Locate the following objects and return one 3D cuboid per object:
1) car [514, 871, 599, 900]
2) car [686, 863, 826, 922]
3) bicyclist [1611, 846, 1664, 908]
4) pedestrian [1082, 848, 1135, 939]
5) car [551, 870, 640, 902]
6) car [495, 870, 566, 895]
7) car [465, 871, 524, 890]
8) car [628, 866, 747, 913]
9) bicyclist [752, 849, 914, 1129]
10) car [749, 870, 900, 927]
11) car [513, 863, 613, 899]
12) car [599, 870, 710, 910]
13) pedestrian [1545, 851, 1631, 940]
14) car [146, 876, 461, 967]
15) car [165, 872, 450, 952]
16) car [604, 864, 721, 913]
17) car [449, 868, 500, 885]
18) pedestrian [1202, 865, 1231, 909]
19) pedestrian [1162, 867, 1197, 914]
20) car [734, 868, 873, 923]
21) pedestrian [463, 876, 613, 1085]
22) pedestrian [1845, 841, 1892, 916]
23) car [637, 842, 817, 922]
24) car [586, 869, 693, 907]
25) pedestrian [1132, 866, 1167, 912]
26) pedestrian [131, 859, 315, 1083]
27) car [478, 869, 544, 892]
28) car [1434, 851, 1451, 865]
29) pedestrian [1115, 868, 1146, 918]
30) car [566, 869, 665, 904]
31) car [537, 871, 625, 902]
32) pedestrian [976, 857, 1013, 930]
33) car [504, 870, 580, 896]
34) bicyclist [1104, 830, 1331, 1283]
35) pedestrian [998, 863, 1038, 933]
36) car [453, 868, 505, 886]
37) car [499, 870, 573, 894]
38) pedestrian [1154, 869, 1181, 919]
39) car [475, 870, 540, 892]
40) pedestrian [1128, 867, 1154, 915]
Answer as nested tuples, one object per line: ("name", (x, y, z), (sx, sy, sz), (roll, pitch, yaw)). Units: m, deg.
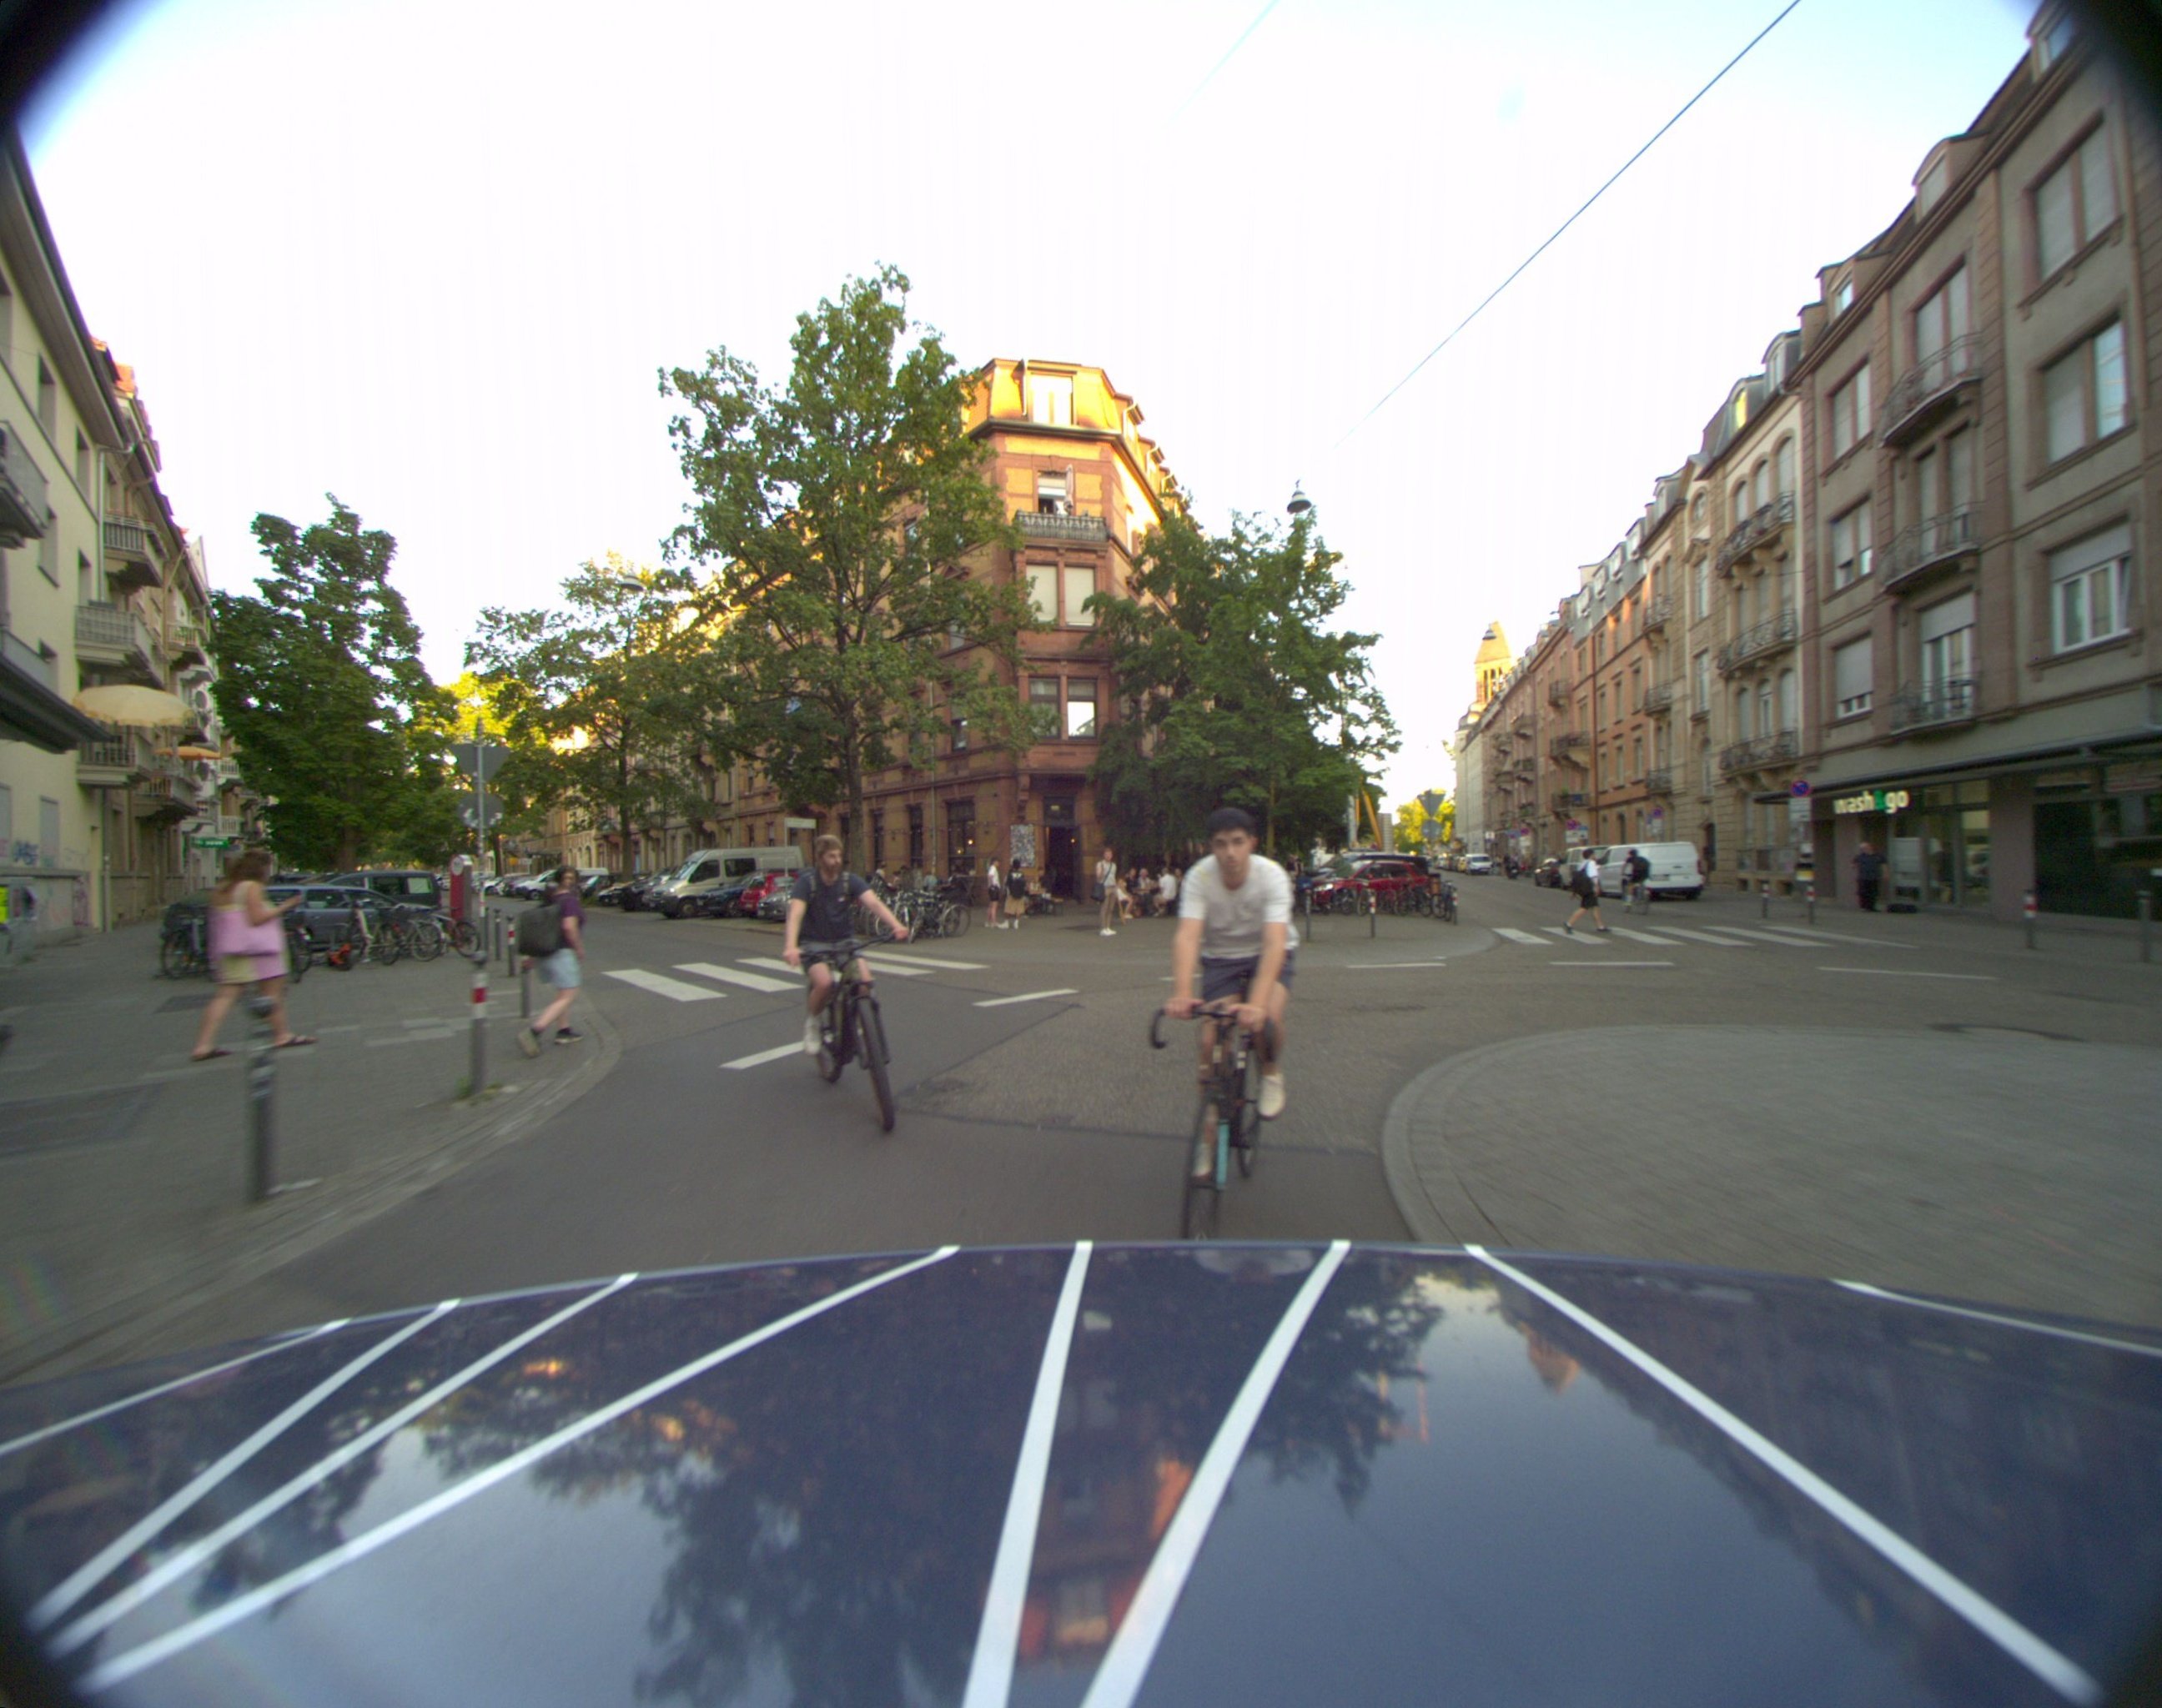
("car", (-31.820, 1.894, 46.203), (1.728, 1.528, 3.877), (-1, 1, 40))
("car", (-11.141, 1.261, 26.196), (3.983, 1.653, 1.759), (-4, 2, -44))
("bicyclist", (15.029, 0.614, 20.544), (0.753, 1.630, 1.203), (-1, -1, 15))
("pedestrian", (0.598, 0.812, 16.164), (0.673, 1.857, 0.912), (-1, 1, 35))
("car", (-27.458, 1.761, 43.061), (1.728, 1.528, 3.877), (-1, 1, 40))
("car", (-40.442, 2.065, 55.857), (1.787, 1.539, 3.919), (-1, 1, 43))
("car", (-52.992, 2.371, 68.693), (1.787, 1.557, 3.919), (-1, 1, 43))
("car", (-16.276, 1.416, 31.550), (3.983, 1.653, 1.759), (-3, 1, -44))
("bicyclist", (-1.602, 0.774, 4.844), (0.796, 1.562, 0.824), (-2, -1, -29))
("car", (-7.733, 1.281, 23.148), (3.983, 1.412, 1.623), (-3, 1, -44))
("car", (-33.247, 1.684, 48.890), (2.196, 2.000, 4.858), (-1, 1, 42))
("car", (-19.412, 1.598, 34.723), (1.846, 1.528, 3.983), (-1, 1, 40))
("pedestrian", (10.392, 0.835, 15.603), (1.212, 1.733, 0.749), (-2, 0, -4))
("car", (-16.270, 1.325, 16.322), (1.790, 1.478, 4.453), (-2, 1, 9))
("car", (-18.265, 1.290, 18.323), (1.948, 1.478, 4.453), (-2, 1, 9))
("car", (-17.894, 1.425, 32.580), (3.983, 1.814, 1.846), (-3, 1, -44))
("car", (-63.957, 2.334, 80.118), (1.787, 1.620, 3.919), (-1, 1, 43))
("pedestrian", (4.061, 0.980, 22.841), (0.720, 1.297, 0.751), (-1, 0, 1))
("pedestrian", (2.773, 1.022, 21.427), (0.676, 1.265, 0.639), (-3, 1, -30))
("car", (-9.125, 1.302, 25.199), (3.983, 1.494, 1.623), (-3, 1, -44))
("pedestrian", (-4.540, 0.992, 6.384), (0.537, 1.597, 0.870), (0, -1, 33))
("pedestrian", (19.092, 0.589, 18.438), (0.654, 1.768, 0.693), (-2, -1, 39))
("car", (-12.931, 0.930, 28.063), (2.115, 2.443, 5.498), (-1, 2, 43))
("car", (-21.125, 1.589, 36.497), (1.846, 1.528, 3.983), (-1, 1, 40))
("pedestrian", (1.938, 0.982, 21.525), (0.642, 1.265, 0.673), (-3, 1, -43))
("pedestrian", (-7.033, 0.914, 6.267), (0.693, 1.735, 0.712), (0, -1, -2))
("car", (-45.798, 2.137, 61.097), (1.787, 1.588, 3.919), (-1, 1, 43))
("car", (48.635, 0.520, 102.255), (1.905, 1.728, 3.855), (-2, 1, 24))
("pedestrian", (1.300, 1.030, 20.196), (0.675, 1.265, 0.640), (-2, 1, -6))
("car", (-24.240, 1.674, 39.653), (1.846, 1.528, 3.983), (-1, 1, 40))
("car", (-29.095, 1.842, 44.300), (1.728, 1.528, 3.877), (-1, 1, 40))
("pedestrian", (-2.120, 0.969, 18.739), (0.674, 1.735, 0.641), (-2, 1, 12))
("car", (-37.035, 1.982, 52.294), (1.787, 1.525, 3.919), (-1, 1, 43))
("bicyclist", (0.600, 0.669, 3.068), (0.649, 1.500, 0.955), (-2, 1, 23))
("pedestrian", (-1.520, 1.041, 18.273), (0.641, 1.628, 0.673), (-3, 1, -33))
("car", (-61.859, 2.371, 78.081), (1.787, 1.620, 3.919), (-1, 1, 43))
("car", (-38.951, 1.974, 54.371), (1.787, 1.525, 3.919), (-1, 1, 43))
("pedestrian", (2.293, 1.046, 20.156), (0.640, 1.265, 0.675), (-2, 1, 6))
("car", (-47.213, 2.195, 62.581), (1.787, 1.620, 3.919), (-1, 1, 43))
("pedestrian", (1.644, 1.002, 20.734), (0.674, 1.265, 0.641), (-2, 1, 6))
